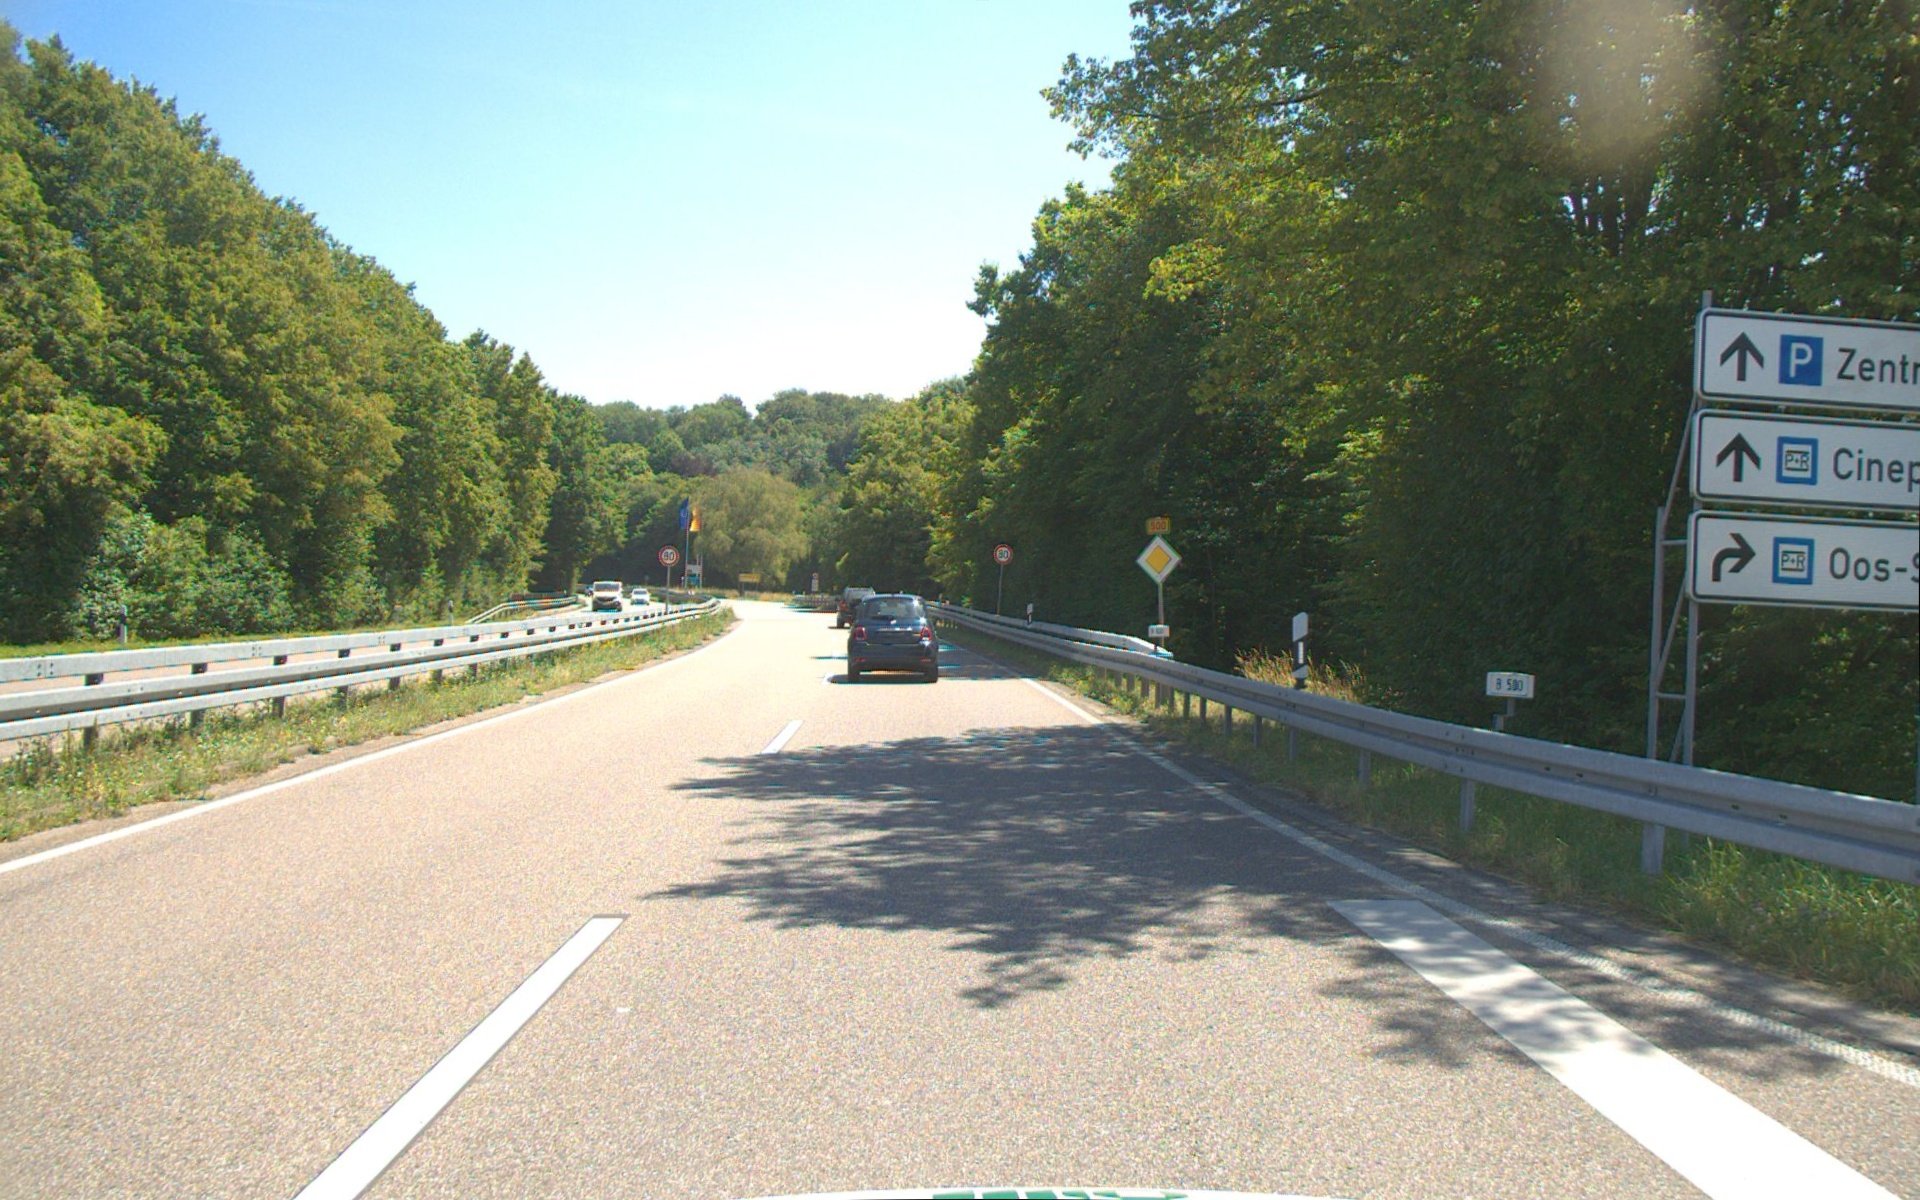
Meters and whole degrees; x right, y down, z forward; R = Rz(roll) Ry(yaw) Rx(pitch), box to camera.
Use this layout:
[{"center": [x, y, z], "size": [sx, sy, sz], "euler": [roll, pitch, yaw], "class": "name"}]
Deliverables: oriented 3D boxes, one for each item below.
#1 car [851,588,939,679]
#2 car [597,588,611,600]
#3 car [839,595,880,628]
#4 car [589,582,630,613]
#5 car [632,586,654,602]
[{"center": [-1.206, 0.563, 29.693], "size": [1.483, 1.527, 3.587], "euler": [0, 0, -3], "class": "car"}, {"center": [-47.648, -0.844, 221.548], "size": [1.621, 1.634, 4.209], "euler": [0, 0, -10], "class": "car"}, {"center": [-4.272, 0.469, 69.731], "size": [1.496, 1.336, 3.409], "euler": [0, 0, -7], "class": "car"}, {"center": [-23.048, -0.146, 108.960], "size": [1.950, 1.985, 5.634], "euler": [0, 0, -5], "class": "car"}, {"center": [-28.842, -0.549, 150.548], "size": [1.619, 1.472, 4.213], "euler": [0, 0, -7], "class": "car"}]
